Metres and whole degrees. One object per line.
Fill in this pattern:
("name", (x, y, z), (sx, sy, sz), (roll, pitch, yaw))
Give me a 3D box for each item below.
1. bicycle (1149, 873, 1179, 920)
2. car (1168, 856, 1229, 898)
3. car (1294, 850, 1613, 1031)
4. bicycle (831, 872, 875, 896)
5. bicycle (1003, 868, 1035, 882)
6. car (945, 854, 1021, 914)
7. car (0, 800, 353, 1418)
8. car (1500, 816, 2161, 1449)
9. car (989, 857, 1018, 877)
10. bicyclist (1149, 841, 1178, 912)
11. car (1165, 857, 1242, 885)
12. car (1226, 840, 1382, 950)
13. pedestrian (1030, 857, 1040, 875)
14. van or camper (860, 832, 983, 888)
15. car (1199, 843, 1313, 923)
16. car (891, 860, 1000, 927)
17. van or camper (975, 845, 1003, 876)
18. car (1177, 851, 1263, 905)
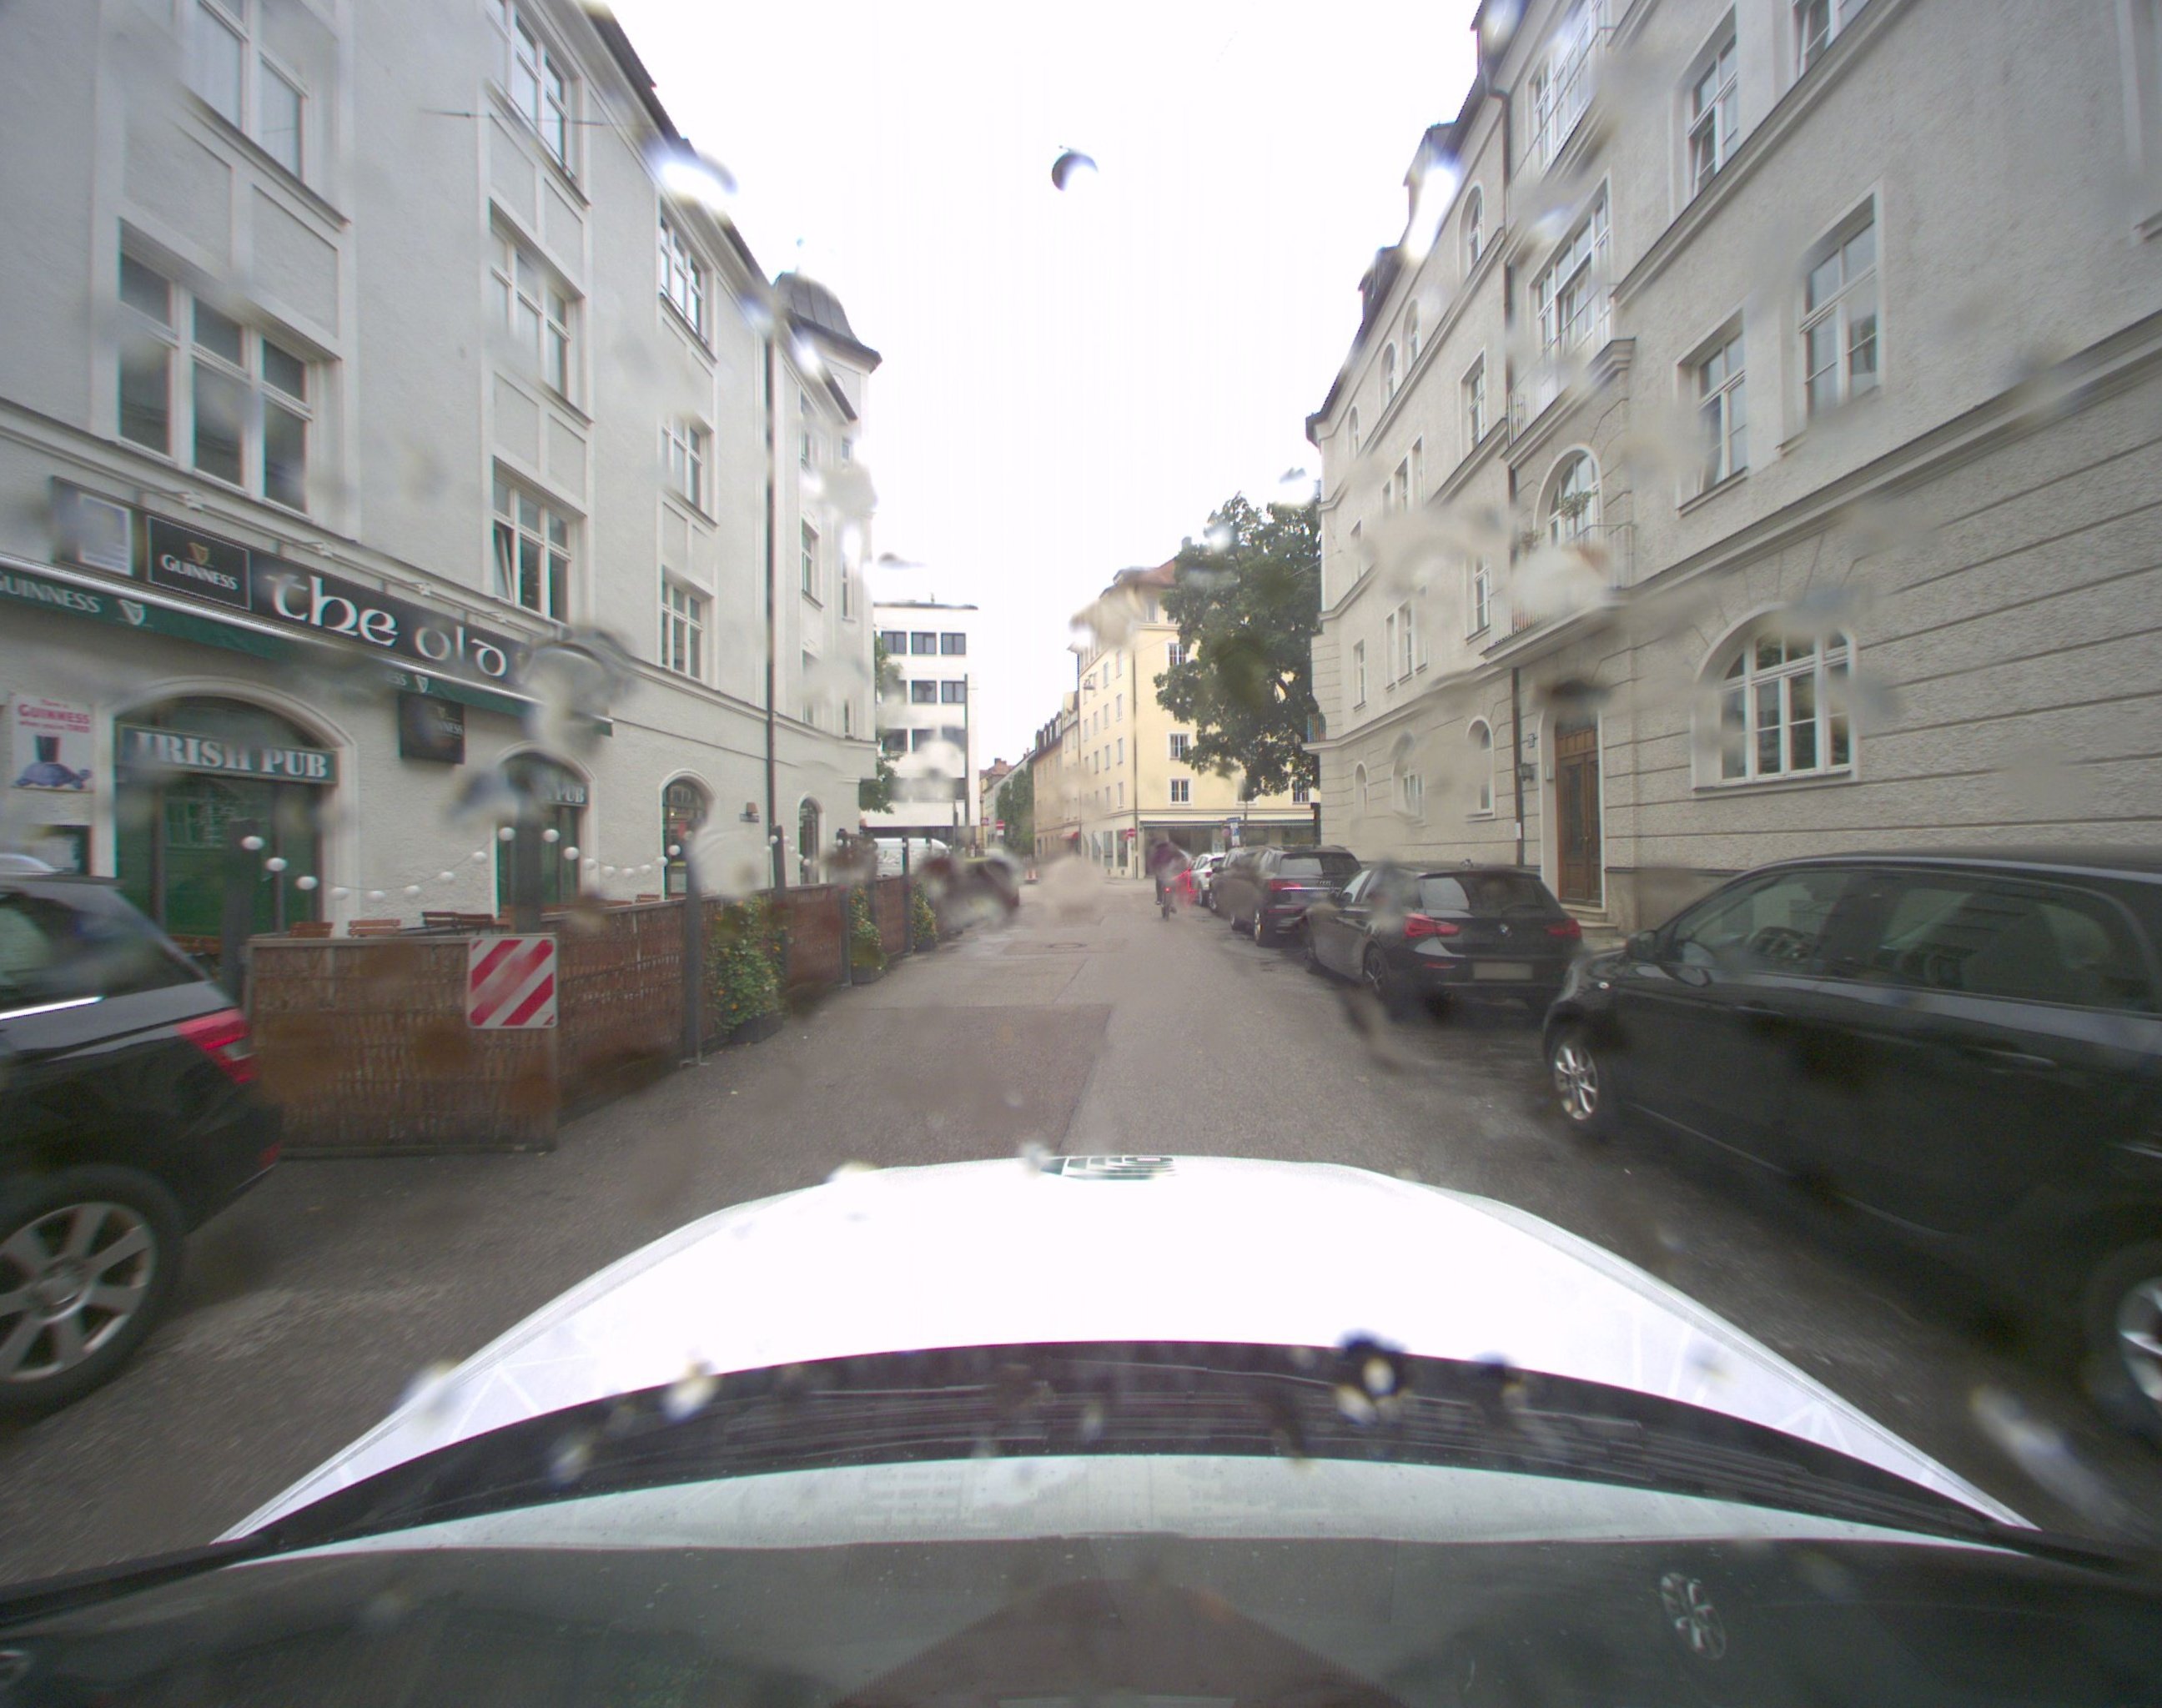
("bicycle", (1.920, 0.972, 18.941), (0.636, 1.004, 1.576), (-1, 0, 4))
("car", (4.313, 0.793, 30.325), (1.664, 1.435, 4.213), (0, 0, 0))
("car", (3.584, 0.707, 8.748), (1.699, 1.471, 4.204), (-1, 0, 3))
("bicycle", (-9.097, 1.191, 32.493), (1.567, 0.947, 0.891), (1, -2, -26))
("bicycle", (-3.973, 1.352, 52.081), (1.915, 0.863, 0.615), (-1, 0, -16))
("car", (-2.889, 0.859, 24.761), (1.670, 1.597, 3.946), (-2, -1, 1))
("car", (-3.807, 0.741, 1.117), (1.741, 1.673, 4.273), (-3, 0, -1))
("car", (3.436, 0.668, 3.277), (1.649, 1.525, 3.636), (0, 0, 0))
("car", (-6.088, 0.990, 63.402), (1.833, 1.535, 3.984), (-1, 0, -11))
("bicyclist", (1.918, 0.507, 19.003), (0.603, 1.606, 0.758), (-1, 0, 3))
("car", (6.633, 0.943, 44.306), (3.972, 1.416, 1.821), (0, -4, 1))
("car", (3.757, 0.622, 14.496), (1.770, 1.636, 4.378), (1, 0, 3))
("pedestrian", (-4.512, 1.184, 80.495), (0.878, 1.778, 0.770), (-1, -1, -11))
("van or camper", (-7.935, 0.298, 40.987), (5.902, 2.677, 1.867), (-1, -2, -9))
("car", (4.156, 0.636, 20.034), (1.784, 1.713, 4.424), (-1, 0, -1))
("car", (-3.162, 0.887, 19.774), (1.699, 1.390, 4.004), (-2, 0, 3))
("van or camper", (-7.785, 0.541, 68.725), (1.994, 2.540, 4.743), (-1, 0, -10))
("car", (4.115, 0.664, 24.640), (1.746, 1.496, 3.905), (0, 0, -3))
